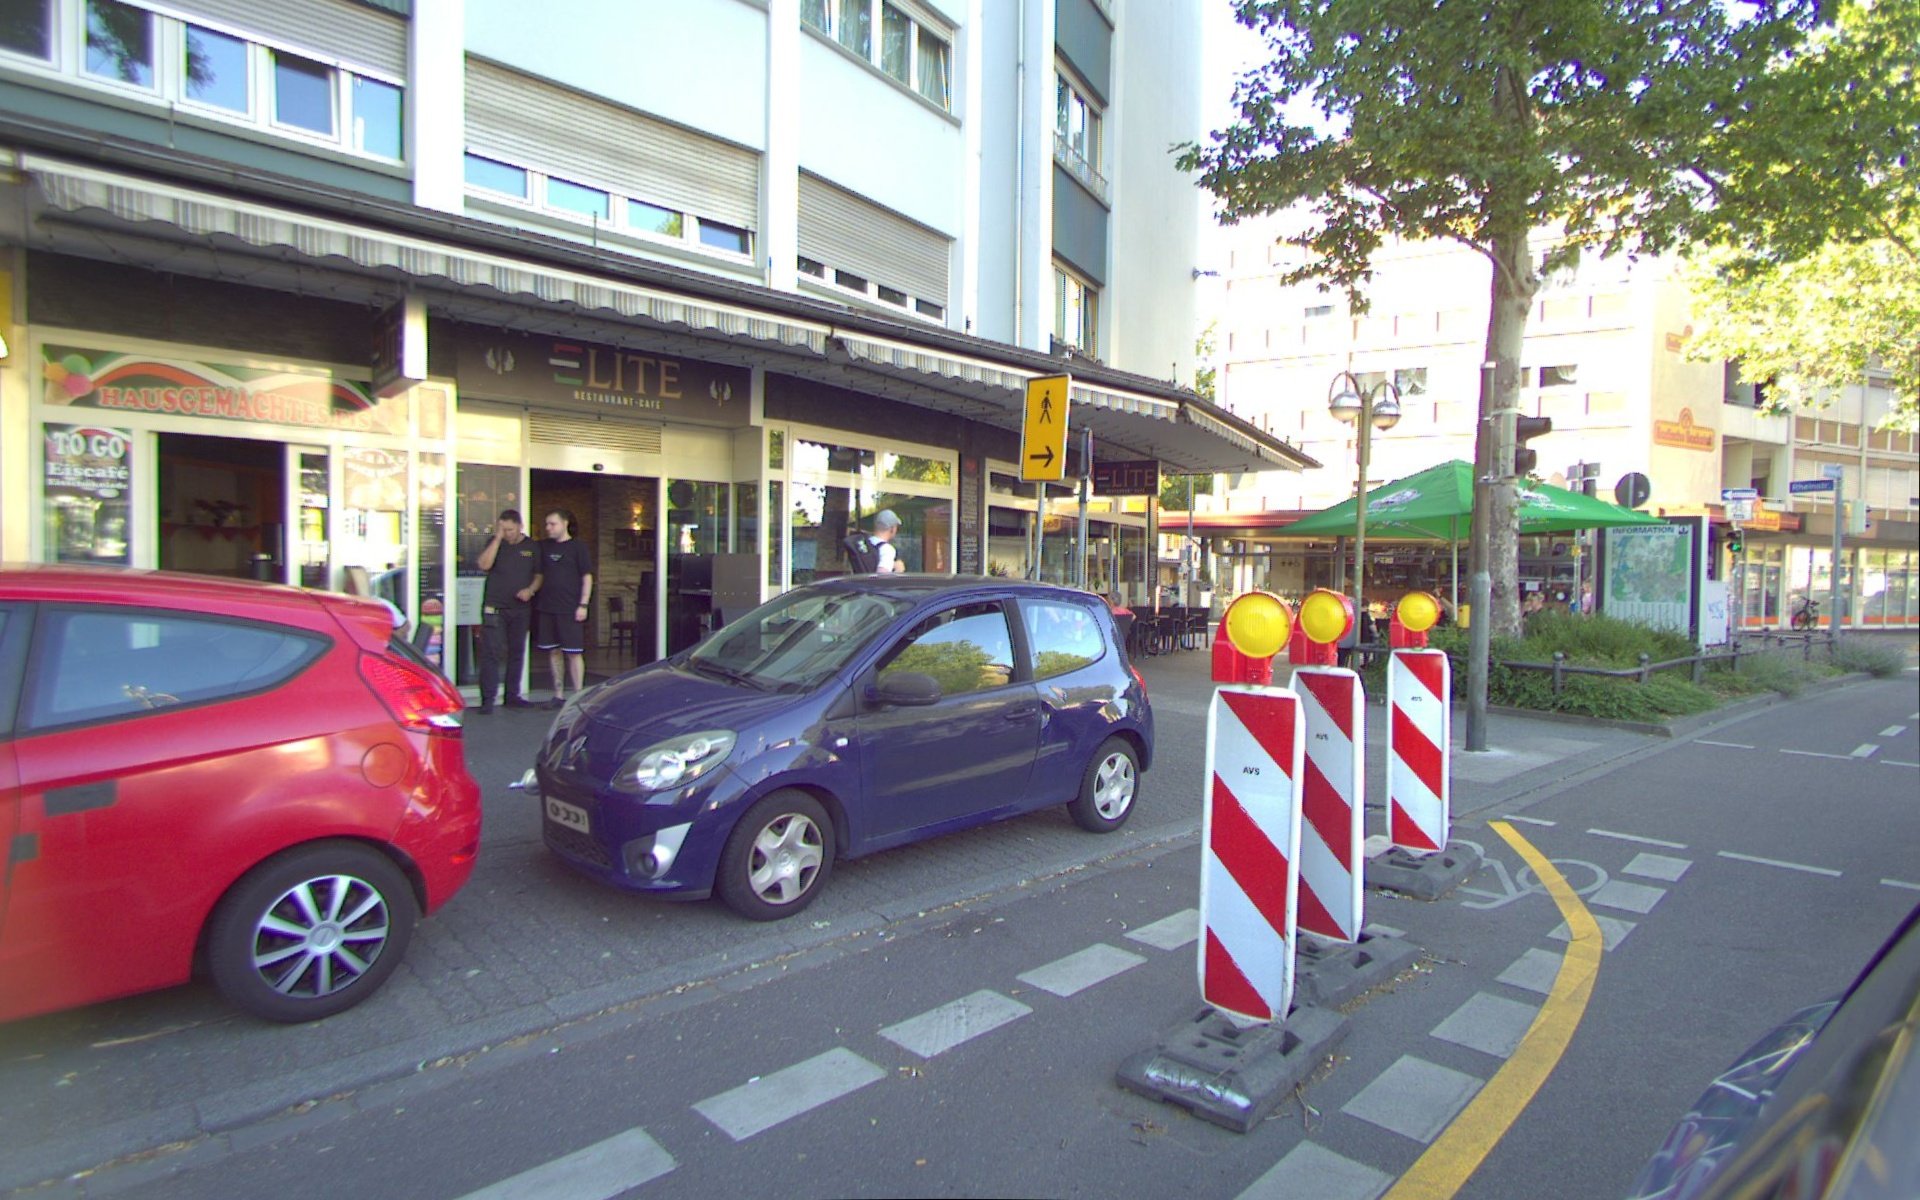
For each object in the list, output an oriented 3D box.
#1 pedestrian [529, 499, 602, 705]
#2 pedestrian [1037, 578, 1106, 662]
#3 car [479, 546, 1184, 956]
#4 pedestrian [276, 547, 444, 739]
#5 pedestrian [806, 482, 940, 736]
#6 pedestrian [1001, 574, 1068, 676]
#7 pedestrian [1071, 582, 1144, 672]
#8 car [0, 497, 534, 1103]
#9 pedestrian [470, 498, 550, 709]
[{"bbox_3d":[-3.547,0.010,9.106,0.545,1.803,0.397,1,3,-11],"label":"pedestrian"},{"bbox_3d":[1.667,0.283,15.148,0.776,1.207,0.648,0,1,-34],"label":"pedestrian"},{"bbox_3d":[-0.535,0.527,5.696,3.551,1.485,1.769,-1,5,-44],"label":"car"},{"bbox_3d":[-4.650,0.285,7.829,0.937,1.352,1.069,0,2,-42],"label":"pedestrian"},{"bbox_3d":[-0.722,0.056,8.421,0.874,1.983,0.648,0,2,-41],"label":"pedestrian"},{"bbox_3d":[0.994,0.322,13.646,0.685,1.323,0.793,1,1,-13],"label":"pedestrian"},{"bbox_3d":[2.059,0.363,14.242,0.685,1.207,0.881,0,1,-18],"label":"pedestrian"},{"bbox_3d":[-3.513,0.483,2.986,3.761,1.614,1.784,-1,5,-45],"label":"car"},{"bbox_3d":[-3.984,0.016,8.957,0.547,1.800,0.395,-1,4,-43],"label":"pedestrian"}]
